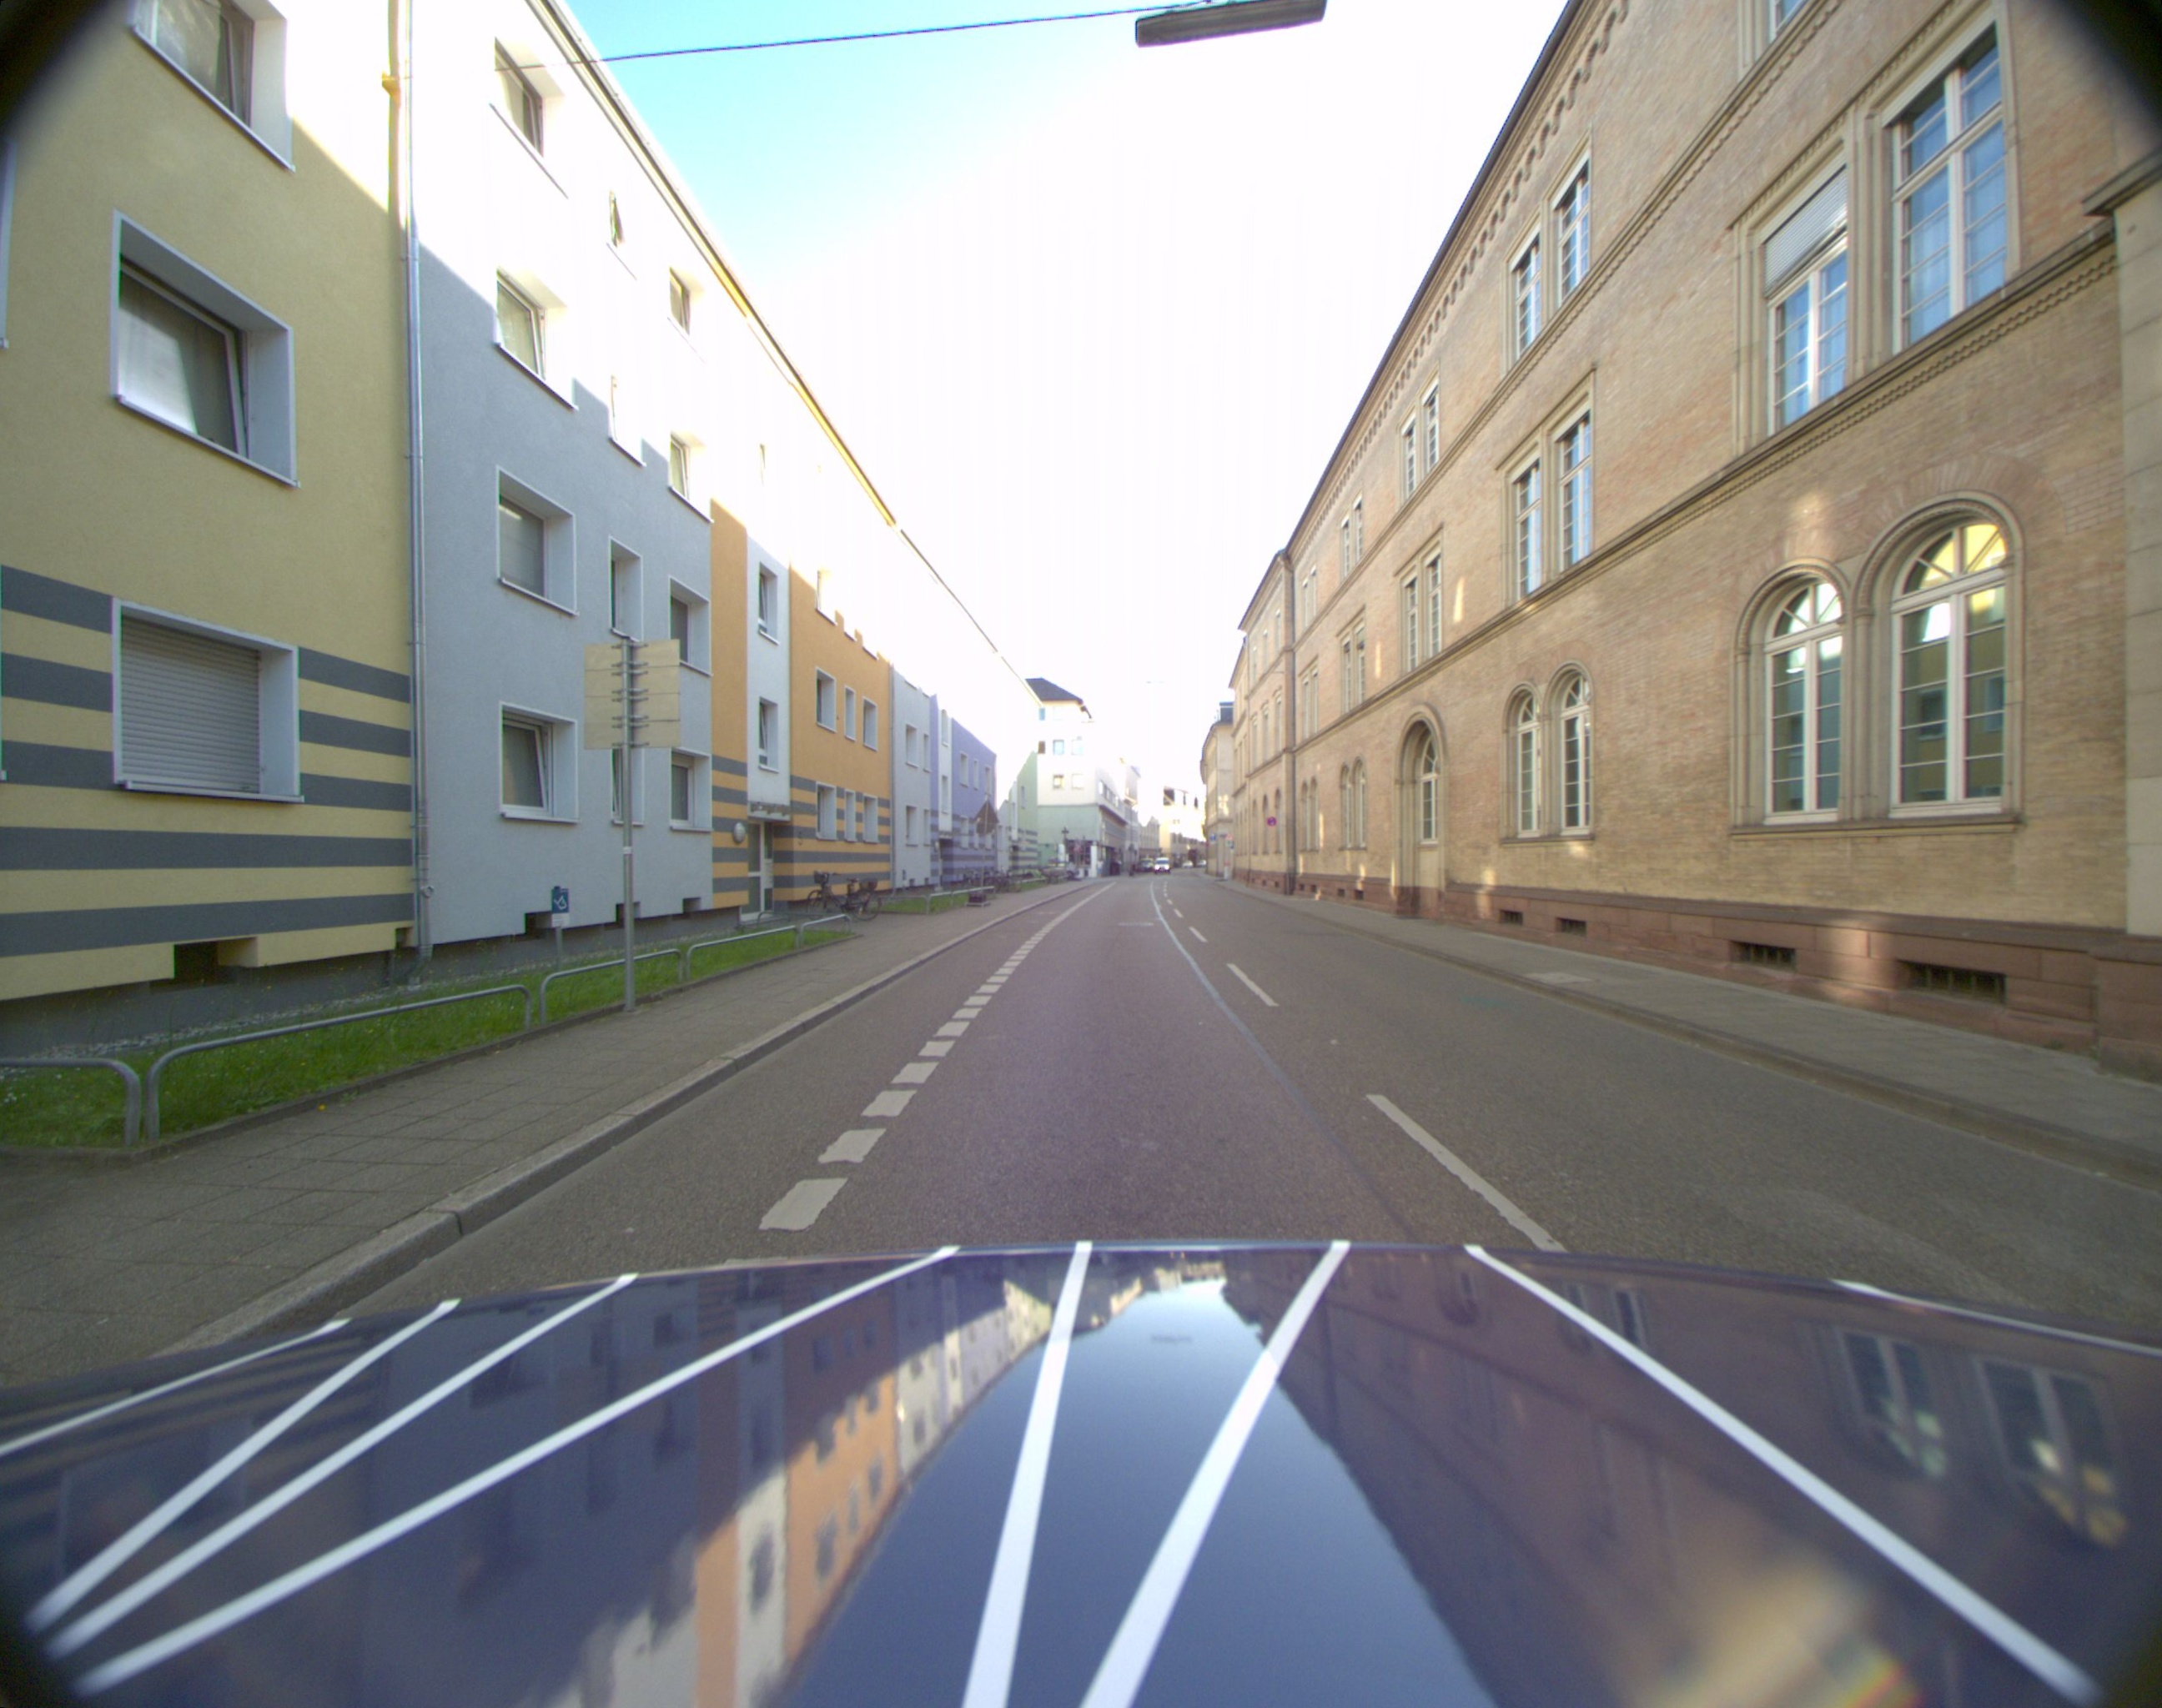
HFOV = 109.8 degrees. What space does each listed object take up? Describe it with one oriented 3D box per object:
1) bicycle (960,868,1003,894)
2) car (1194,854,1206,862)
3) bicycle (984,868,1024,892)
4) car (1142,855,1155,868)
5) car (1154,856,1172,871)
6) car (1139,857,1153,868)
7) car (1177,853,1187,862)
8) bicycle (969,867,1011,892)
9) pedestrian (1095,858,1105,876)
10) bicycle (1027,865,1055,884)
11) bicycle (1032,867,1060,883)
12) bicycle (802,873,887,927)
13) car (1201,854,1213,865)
[{"bbox_3d":[-4.155,1.124,31.840,1.710,1.039,0.636,1,0,2],"label":"bicycle"},{"bbox_3d":[25.708,0.808,163.617,1.925,1.714,4.236,0,0,19],"label":"car"},{"bbox_3d":[-3.394,1.151,33.743,1.711,1.029,0.636,1,0,-2],"label":"bicycle"},{"bbox_3d":[9.462,0.995,106.028,1.535,1.714,3.741,0,0,8],"label":"car"},{"bbox_3d":[9.343,1.070,86.250,1.922,1.712,4.963,0,0,6],"label":"car"},{"bbox_3d":[8.636,1.107,100.753,1.634,1.405,3.687,0,0,8],"label":"car"},{"bbox_3d":[19.915,0.618,149.639,1.534,1.714,3.743,0,0,16],"label":"car"},{"bbox_3d":[-3.953,1.100,32.982,1.710,1.075,0.636,1,0,1],"label":"bicycle"},{"bbox_3d":[1.567,1.108,63.515,0.707,1.510,0.662,0,0,16],"label":"pedestrian"},{"bbox_3d":[-2.424,1.236,46.102,1.711,1.097,0.584,1,0,-2],"label":"bicycle"},{"bbox_3d":[-2.177,1.319,47.563,1.711,0.972,0.516,1,0,-2],"label":"bicycle"},{"bbox_3d":[-5.294,1.019,17.087,1.711,1.152,0.636,1,0,-2],"label":"bicycle"},{"bbox_3d":[19.952,0.803,120.339,1.662,1.714,3.743,0,0,14],"label":"car"}]
